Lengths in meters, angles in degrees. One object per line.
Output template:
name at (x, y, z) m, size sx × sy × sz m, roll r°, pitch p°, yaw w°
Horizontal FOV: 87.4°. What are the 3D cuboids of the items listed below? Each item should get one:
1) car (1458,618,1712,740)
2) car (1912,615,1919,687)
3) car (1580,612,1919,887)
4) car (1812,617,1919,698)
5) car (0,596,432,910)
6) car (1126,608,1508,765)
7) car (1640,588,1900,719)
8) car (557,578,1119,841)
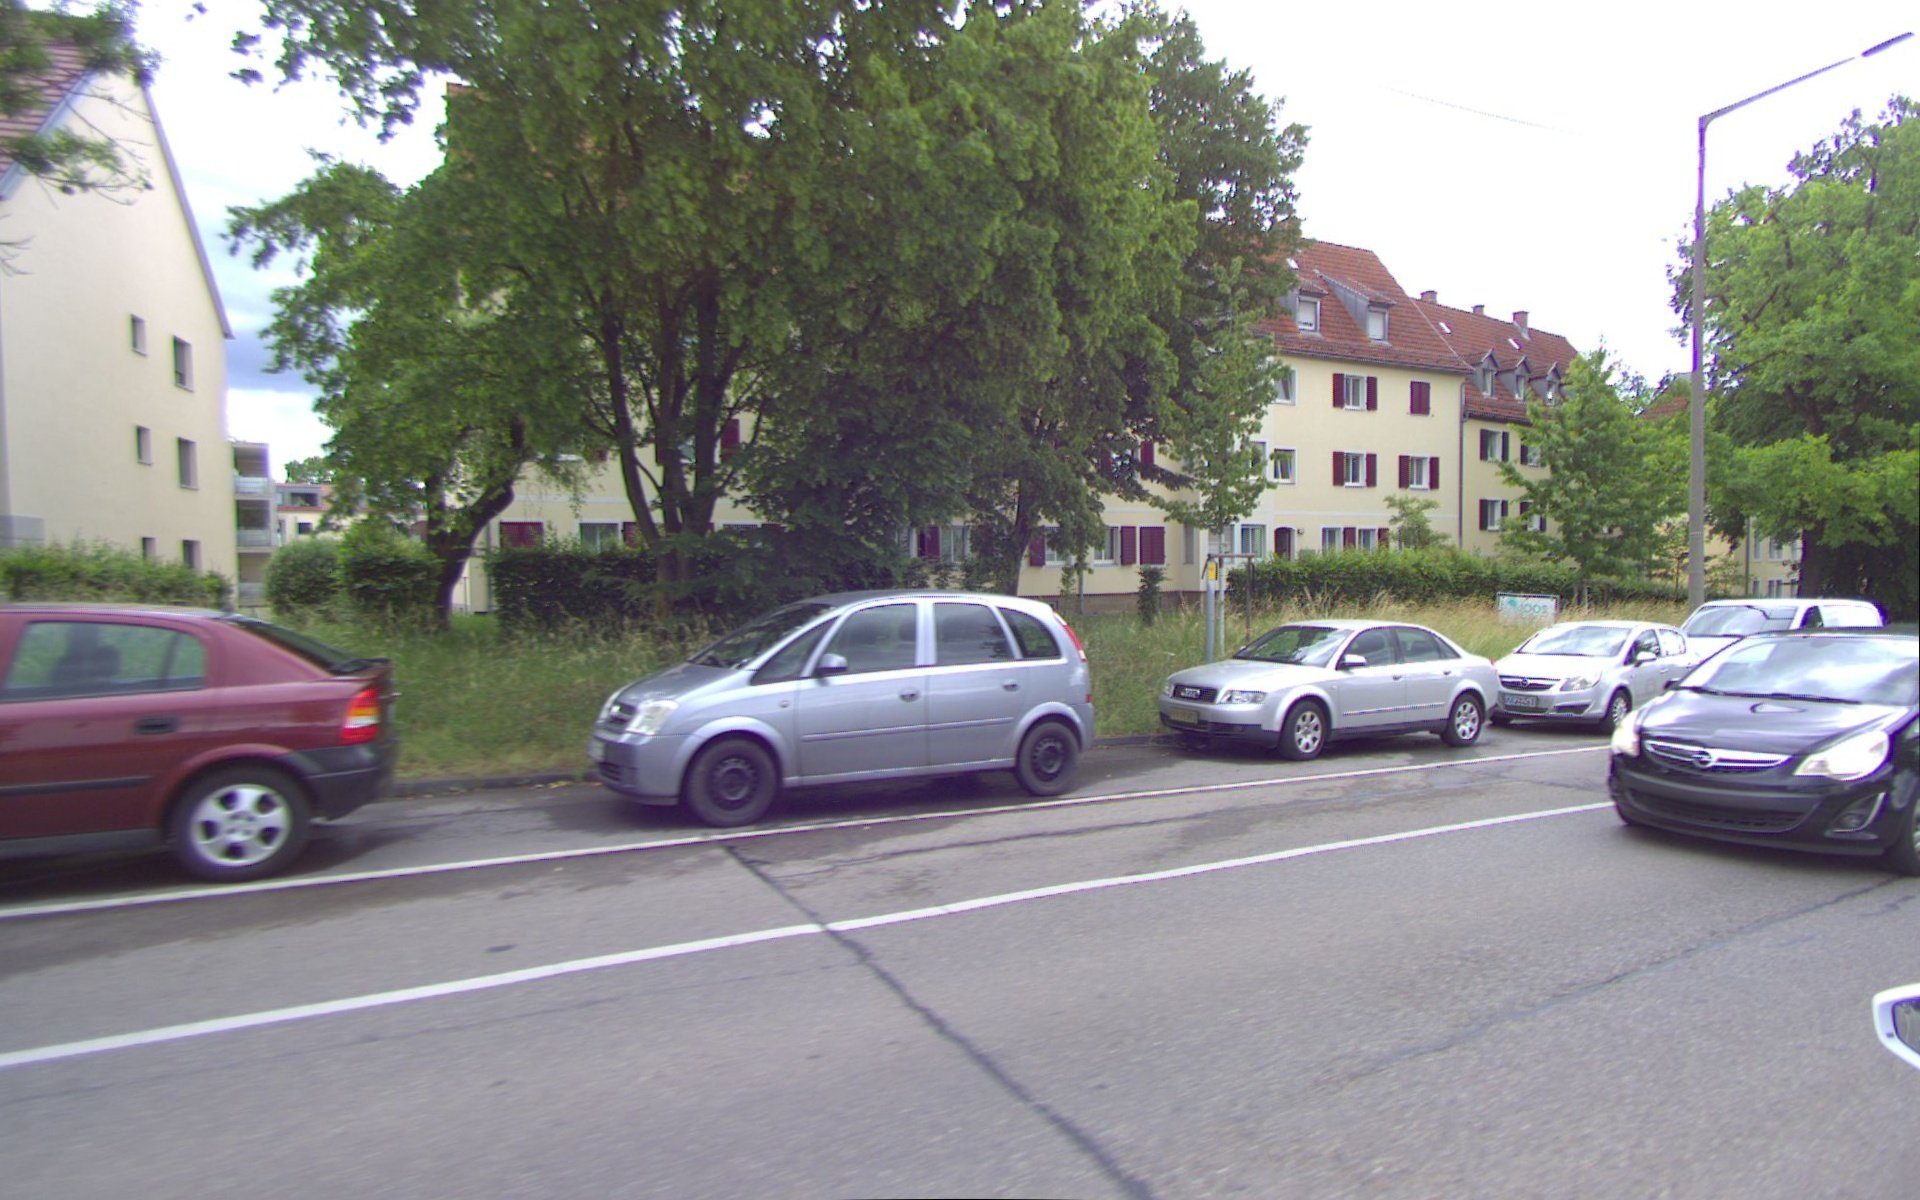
car at (8.899, 1.008, 14.217) m, size 3.910 × 1.452 × 1.624 m, roll 1°, pitch 1°, yaw -35°
car at (23.495, 1.176, 22.859) m, size 4.234 × 1.585 × 1.664 m, roll 1°, pitch -1°, yaw -32°
car at (6.355, 0.863, 7.151) m, size 3.952 × 1.486 × 1.630 m, roll 1°, pitch -1°, yaw -30°
car at (19.322, 1.135, 20.529) m, size 3.996 × 1.507 × 1.665 m, roll 1°, pitch -2°, yaw -30°
car at (-5.162, 0.716, 5.373) m, size 4.097 × 1.467 × 1.761 m, roll 1°, pitch 0°, yaw -28°
car at (4.155, 0.877, 11.551) m, size 4.303 × 1.515 × 1.760 m, roll 1°, pitch -1°, yaw -29°
car at (13.969, 0.827, 17.234) m, size 5.094 × 1.957 × 1.759 m, roll 1°, pitch 1°, yaw -30°
car at (-0.890, 0.690, 7.984) m, size 4.087 × 1.613 × 1.759 m, roll 1°, pitch 0°, yaw -31°
